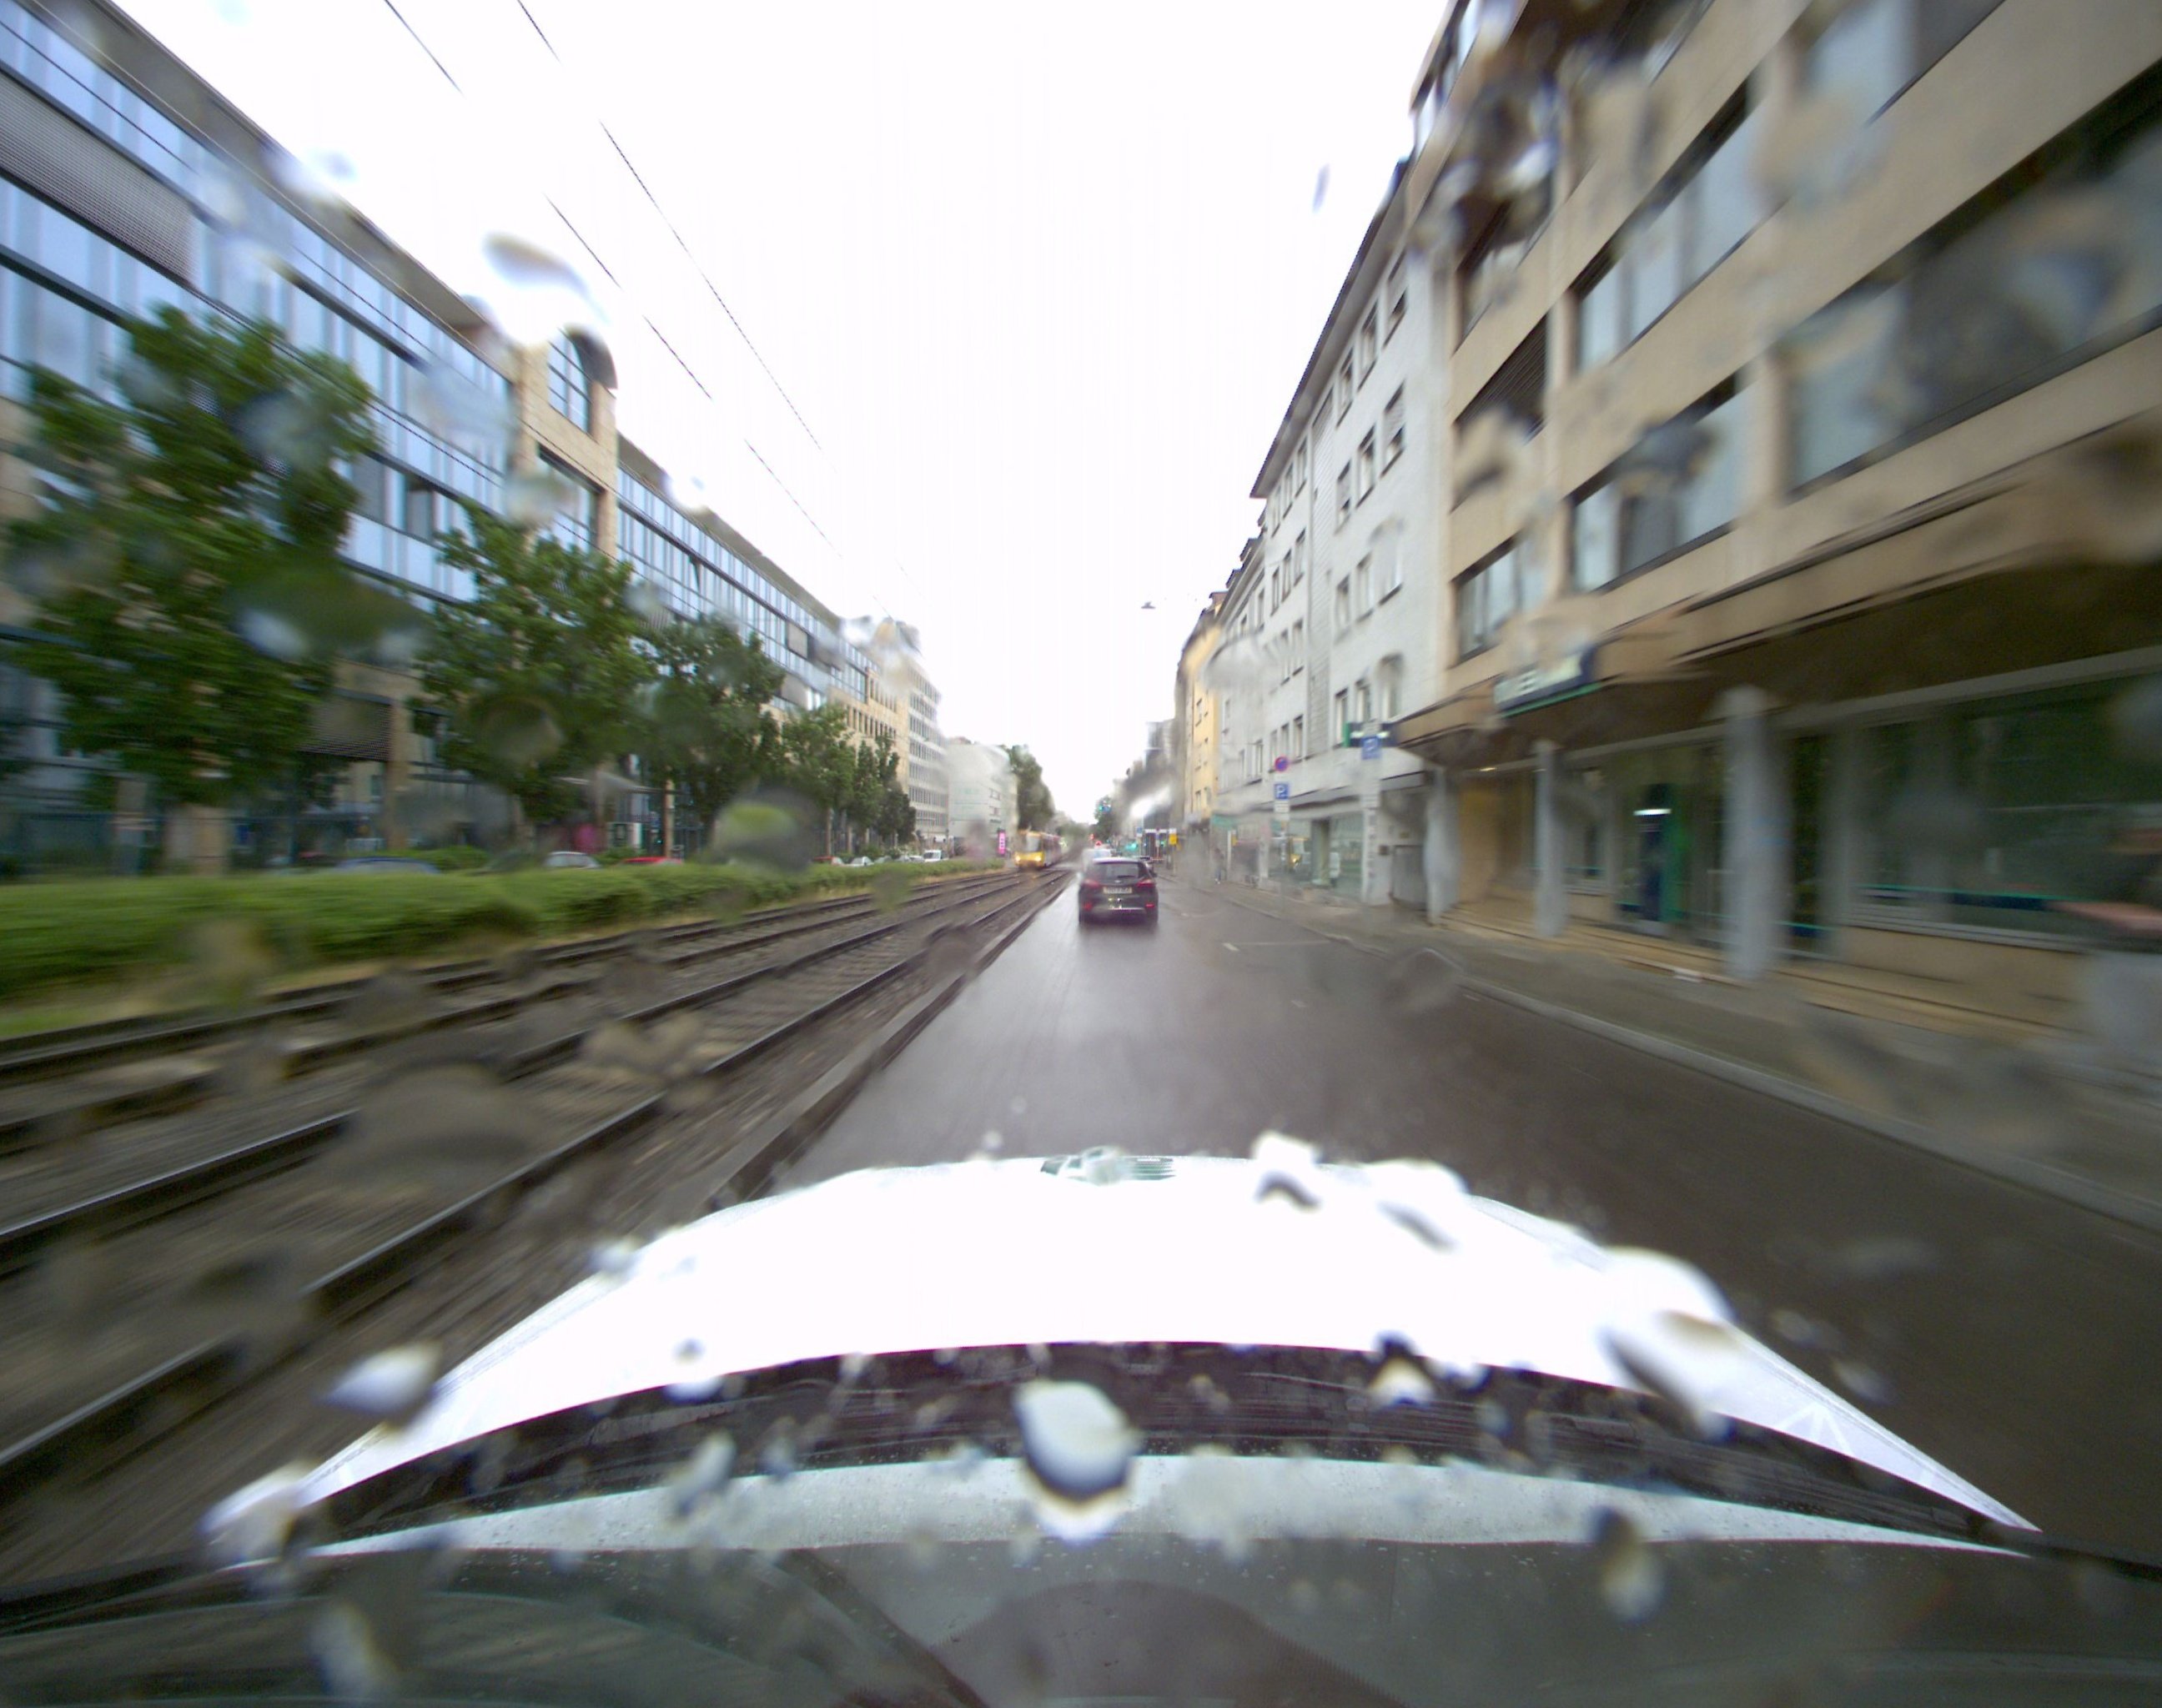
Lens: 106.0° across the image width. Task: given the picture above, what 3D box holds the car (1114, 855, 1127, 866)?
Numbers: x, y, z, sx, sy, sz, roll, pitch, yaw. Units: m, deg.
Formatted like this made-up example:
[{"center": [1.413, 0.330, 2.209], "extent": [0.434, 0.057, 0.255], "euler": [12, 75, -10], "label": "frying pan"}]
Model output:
[{"center": [6.023, 1.031, 124.445], "extent": [1.899, 1.633, 4.576], "euler": [0, -1, 2], "label": "car"}]

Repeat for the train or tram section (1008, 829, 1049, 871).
[{"center": [-4.975, -0.312, 79.622], "extent": [3.503, 3.777, 11.324], "euler": [0, 0, -1], "label": "train or tram section"}]

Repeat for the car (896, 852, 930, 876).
[{"center": [-13.403, 0.797, 65.109], "extent": [1.901, 1.865, 4.570], "euler": [0, -1, -2], "label": "car"}]

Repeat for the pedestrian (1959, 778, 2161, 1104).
[{"center": [5.827, 0.444, 4.599], "extent": [0.693, 1.652, 0.965], "euler": [0, -1, 0], "label": "pedestrian"}]

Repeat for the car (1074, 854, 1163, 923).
[{"center": [0.855, 0.752, 19.061], "extent": [1.899, 1.462, 3.446], "euler": [0, -1, 2], "label": "car"}]

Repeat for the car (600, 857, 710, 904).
[{"center": [-14.030, 0.830, 27.083], "extent": [1.564, 1.436, 4.174], "euler": [0, 0, -2], "label": "car"}]

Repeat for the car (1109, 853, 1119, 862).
[{"center": [6.410, 0.686, 156.154], "extent": [1.899, 1.633, 4.576], "euler": [0, -1, 2], "label": "car"}]

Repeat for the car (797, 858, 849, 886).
[{"center": [-13.614, 0.907, 43.184], "extent": [1.564, 1.436, 4.174], "euler": [0, 0, -2], "label": "car"}]

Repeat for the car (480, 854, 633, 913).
[{"center": [-14.088, 0.740, 22.195], "extent": [1.564, 1.436, 4.174], "euler": [0, 0, -2], "label": "car"}]

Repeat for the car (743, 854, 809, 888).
[{"center": [-13.806, 0.737, 37.078], "extent": [1.564, 1.436, 4.174], "euler": [0, 0, -2], "label": "car"}]

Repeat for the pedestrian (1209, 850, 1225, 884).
[{"center": [6.216, 0.606, 37.285], "extent": [0.609, 1.538, 0.649], "euler": [0, -1, 0], "label": "pedestrian"}]

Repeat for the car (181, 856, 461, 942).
[{"center": [-14.316, 0.769, 15.737], "extent": [1.564, 1.436, 4.174], "euler": [0, 0, -2], "label": "car"}]

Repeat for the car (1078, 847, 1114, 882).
[{"center": [0.910, 0.617, 45.929], "extent": [1.899, 1.865, 4.577], "euler": [0, -1, 3], "label": "car"}]

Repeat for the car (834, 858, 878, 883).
[{"center": [-13.405, 0.960, 48.773], "extent": [1.564, 1.436, 4.174], "euler": [0, 0, -2], "label": "car"}]

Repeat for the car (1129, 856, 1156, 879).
[{"center": [4.666, 1.036, 62.454], "extent": [1.899, 1.633, 4.576], "euler": [0, -1, 2], "label": "car"}]

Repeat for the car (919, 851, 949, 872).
[{"center": [-12.941, 0.677, 71.931], "extent": [1.901, 1.865, 4.570], "euler": [0, -1, -2], "label": "car"}]
